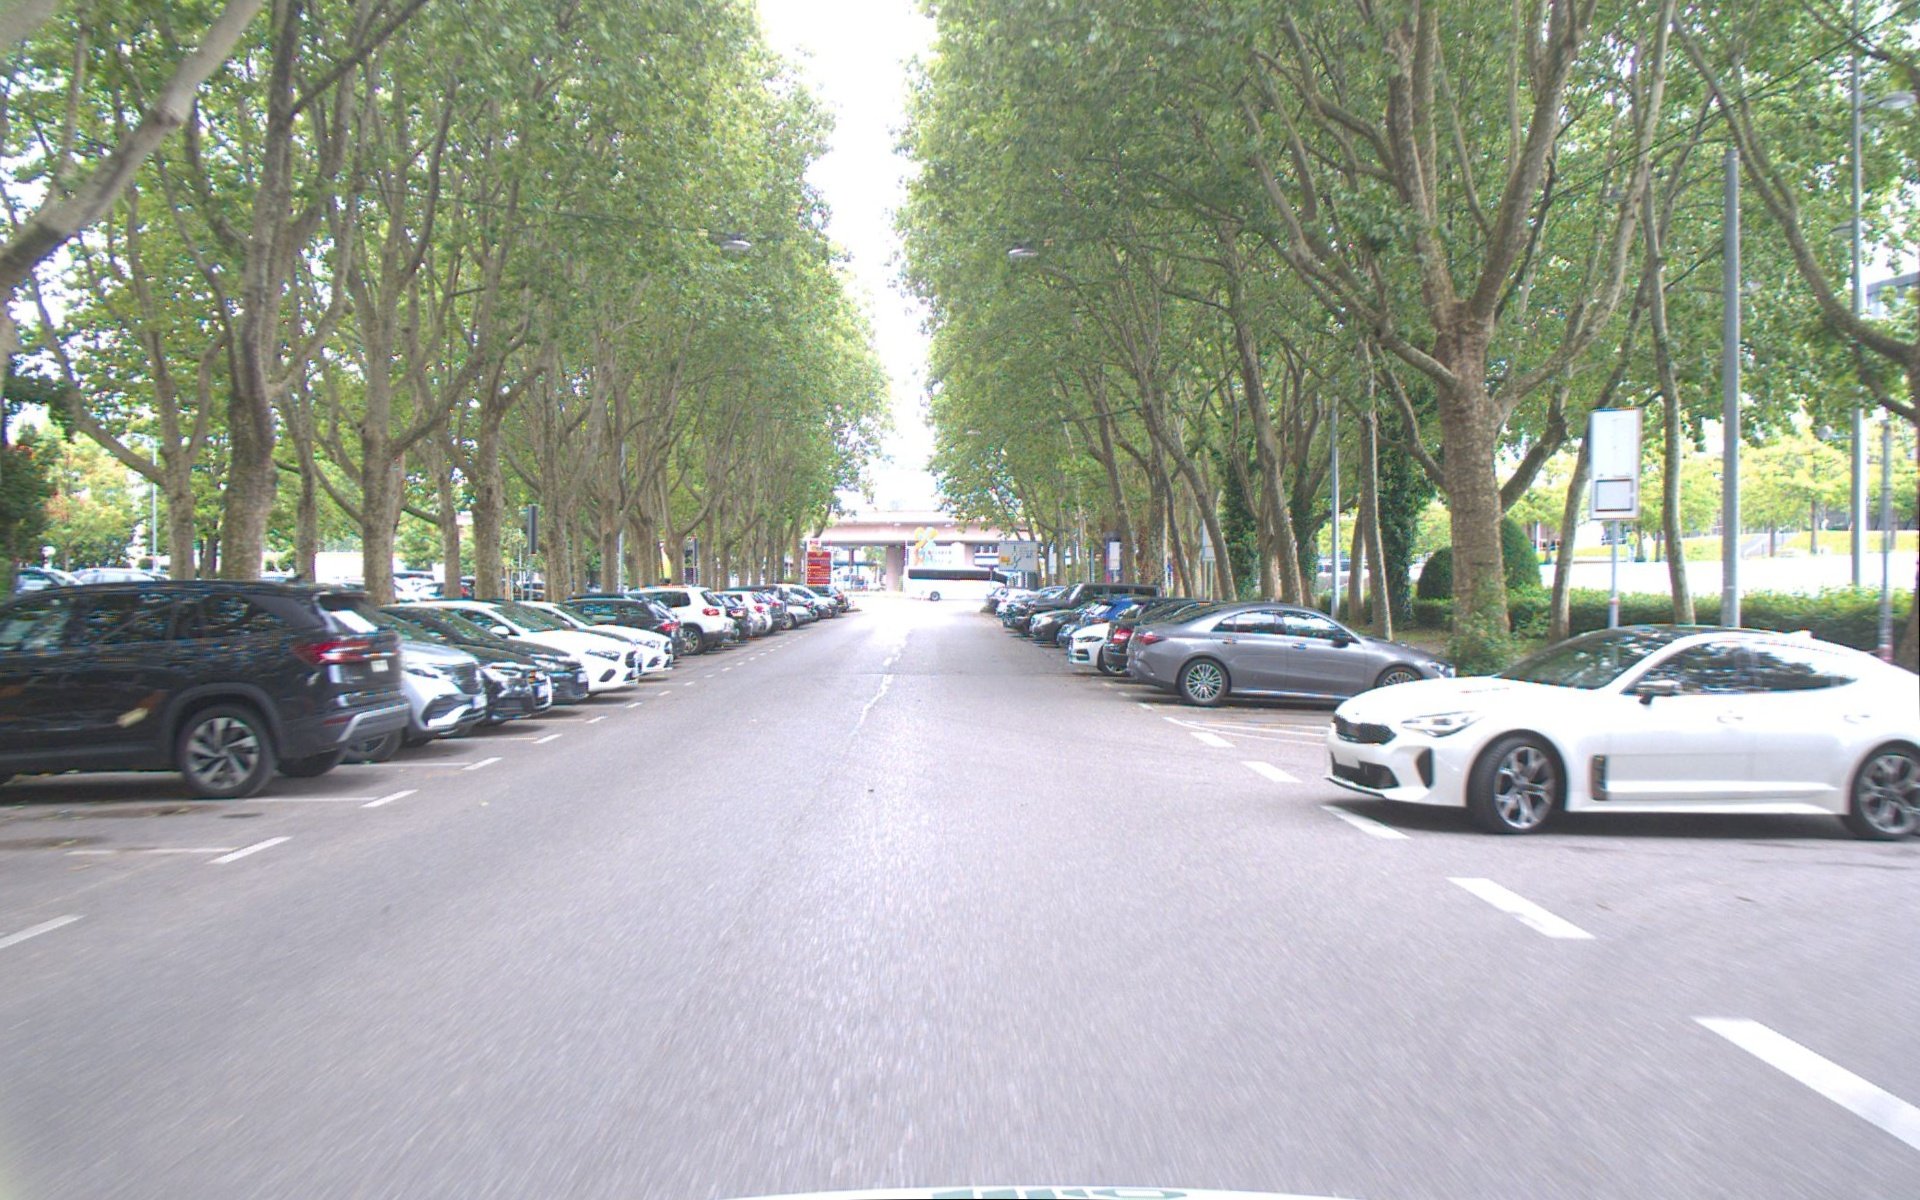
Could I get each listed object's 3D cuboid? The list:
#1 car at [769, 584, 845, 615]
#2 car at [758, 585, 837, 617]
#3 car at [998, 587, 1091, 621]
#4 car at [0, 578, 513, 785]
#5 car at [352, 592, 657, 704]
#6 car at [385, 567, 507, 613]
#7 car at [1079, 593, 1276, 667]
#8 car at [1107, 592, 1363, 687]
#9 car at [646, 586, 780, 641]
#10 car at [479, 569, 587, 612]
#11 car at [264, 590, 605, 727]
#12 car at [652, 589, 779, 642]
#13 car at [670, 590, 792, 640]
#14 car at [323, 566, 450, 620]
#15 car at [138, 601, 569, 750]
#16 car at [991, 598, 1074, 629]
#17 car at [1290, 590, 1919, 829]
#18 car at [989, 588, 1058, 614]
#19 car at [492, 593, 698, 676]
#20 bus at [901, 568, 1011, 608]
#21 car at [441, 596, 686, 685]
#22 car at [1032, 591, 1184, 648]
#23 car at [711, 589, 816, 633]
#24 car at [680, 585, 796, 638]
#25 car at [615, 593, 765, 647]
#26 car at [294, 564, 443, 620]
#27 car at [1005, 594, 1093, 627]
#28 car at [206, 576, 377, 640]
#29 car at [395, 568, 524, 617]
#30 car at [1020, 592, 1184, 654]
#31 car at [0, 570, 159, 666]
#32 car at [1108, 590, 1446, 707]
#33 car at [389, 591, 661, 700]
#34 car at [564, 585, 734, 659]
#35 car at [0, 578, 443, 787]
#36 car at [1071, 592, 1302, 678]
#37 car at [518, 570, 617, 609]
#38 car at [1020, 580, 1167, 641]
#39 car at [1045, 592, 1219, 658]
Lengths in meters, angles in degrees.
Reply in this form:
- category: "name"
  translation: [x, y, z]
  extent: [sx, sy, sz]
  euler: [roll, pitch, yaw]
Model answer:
- category: "car"
  translation: [-7.880, -0.033, 85.486]
  extent: [3.734, 1.542, 1.686]
  euler: [1, 0, 2]
- category: "car"
  translation: [-8.138, 0.043, 83.224]
  extent: [3.734, 1.542, 1.686]
  euler: [1, 0, 2]
- category: "car"
  translation: [4.040, 0.197, 79.772]
  extent: [4.290, 1.549, 1.730]
  euler: [1, 0, -4]
- category: "car"
  translation: [-6.718, 0.725, 15.804]
  extent: [4.383, 1.706, 1.761]
  euler: [-2, 0, -3]
- category: "car"
  translation: [-6.341, 0.650, 23.249]
  extent: [3.734, 1.377, 1.663]
  euler: [-2, 0, 4]
- category: "car"
  translation: [-24.137, -0.483, 77.796]
  extent: [4.972, 2.050, 2.176]
  euler: [1, 0, 2]
- category: "car"
  translation: [4.613, 0.630, 35.518]
  extent: [4.088, 1.467, 1.732]
  euler: [1, 0, 4]
- category: "car"
  translation: [4.559, 0.644, 27.850]
  extent: [4.088, 1.467, 1.732]
  euler: [1, 0, 4]
- category: "car"
  translation: [-7.579, 0.401, 50.891]
  extent: [3.734, 1.542, 1.687]
  euler: [-2, 0, 4]
- category: "car"
  translation: [-22.091, -0.491, 85.662]
  extent: [4.972, 2.050, 2.176]
  euler: [1, 0, 2]
- category: "car"
  translation: [-6.526, 0.695, 20.841]
  extent: [3.738, 1.510, 1.661]
  euler: [-2, 0, -3]
- category: "car"
  translation: [-7.891, 0.490, 53.498]
  extent: [3.734, 1.542, 1.687]
  euler: [-2, 0, 4]
- category: "car"
  translation: [-7.685, 0.499, 55.720]
  extent: [3.734, 1.542, 1.687]
  euler: [-2, 0, 4]
- category: "car"
  translation: [-23.118, -0.309, 66.784]
  extent: [4.261, 2.050, 2.176]
  euler: [1, 0, 2]
- category: "car"
  translation: [-6.624, 0.797, 18.443]
  extent: [4.084, 1.405, 1.870]
  euler: [-2, 0, -3]
- category: "car"
  translation: [3.825, 0.723, 87.666]
  extent: [4.287, 1.549, 1.731]
  euler: [1, 0, 0]
- category: "car"
  translation: [5.101, 0.781, 12.100]
  extent: [4.845, 1.427, 1.994]
  euler: [3, 0, -12]
- category: "car"
  translation: [4.010, 0.080, 105.002]
  extent: [4.287, 1.549, 1.731]
  euler: [1, 0, 0]
- category: "car"
  translation: [-7.383, 0.680, 33.651]
  extent: [3.734, 1.510, 1.663]
  euler: [-2, 0, 4]
- category: "bus"
  translation: [-0.466, -1.213, 173.712]
  extent: [11.350, 4.040, 2.451]
  euler: [-1, -1, -6]
- category: "car"
  translation: [-6.784, 0.684, 28.501]
  extent: [3.734, 1.354, 1.663]
  euler: [-2, 0, 4]
- category: "car"
  translation: [4.061, 0.529, 45.841]
  extent: [3.968, 1.494, 1.730]
  euler: [1, 0, -4]
- category: "car"
  translation: [-7.539, 0.418, 63.666]
  extent: [3.734, 1.542, 1.687]
  euler: [-2, 0, 4]
- category: "car"
  translation: [-7.809, 0.391, 58.369]
  extent: [3.734, 1.719, 1.687]
  euler: [-2, 0, 4]
- category: "car"
  translation: [-7.468, 0.540, 45.947]
  extent: [3.734, 1.319, 1.787]
  euler: [-2, 0, 4]
- category: "car"
  translation: [-22.995, -0.313, 64.437]
  extent: [4.972, 2.050, 2.176]
  euler: [1, 0, 2]
- category: "car"
  translation: [4.470, 0.514, 83.592]
  extent: [4.290, 1.549, 1.730]
  euler: [1, 0, -4]
- category: "car"
  translation: [-22.981, 0.256, 56.986]
  extent: [4.972, 2.050, 2.176]
  euler: [1, 0, 2]
- category: "car"
  translation: [-22.135, -0.347, 73.216]
  extent: [4.972, 2.050, 2.176]
  euler: [1, 0, 2]
- category: "car"
  translation: [3.604, 0.567, 42.332]
  extent: [3.968, 1.494, 1.730]
  euler: [1, 0, -4]
- category: "car"
  translation: [-23.259, 0.415, 41.761]
  extent: [4.972, 2.271, 2.176]
  euler: [1, 0, 2]
- category: "car"
  translation: [4.391, 0.647, 23.502]
  extent: [4.478, 1.512, 2.001]
  euler: [1, 0, 4]
- category: "car"
  translation: [-6.771, 0.693, 25.978]
  extent: [3.734, 1.510, 1.663]
  euler: [-2, 0, 3]
- category: "car"
  translation: [-7.635, 0.525, 40.806]
  extent: [3.734, 1.630, 1.787]
  euler: [-2, 0, 4]
- category: "car"
  translation: [-6.766, 0.640, 13.274]
  extent: [4.571, 1.452, 1.999]
  euler: [-2, 0, -3]
- category: "car"
  translation: [4.123, 0.622, 30.606]
  extent: [4.088, 1.467, 1.732]
  euler: [1, 0, 4]
- category: "car"
  translation: [-22.016, -0.573, 92.896]
  extent: [4.972, 2.050, 2.176]
  euler: [1, 0, 2]
- category: "car"
  translation: [4.081, 0.313, 50.886]
  extent: [4.290, 1.782, 1.730]
  euler: [1, 0, -4]
- category: "car"
  translation: [4.124, 0.599, 40.078]
  extent: [3.968, 1.494, 1.730]
  euler: [1, 0, -4]
